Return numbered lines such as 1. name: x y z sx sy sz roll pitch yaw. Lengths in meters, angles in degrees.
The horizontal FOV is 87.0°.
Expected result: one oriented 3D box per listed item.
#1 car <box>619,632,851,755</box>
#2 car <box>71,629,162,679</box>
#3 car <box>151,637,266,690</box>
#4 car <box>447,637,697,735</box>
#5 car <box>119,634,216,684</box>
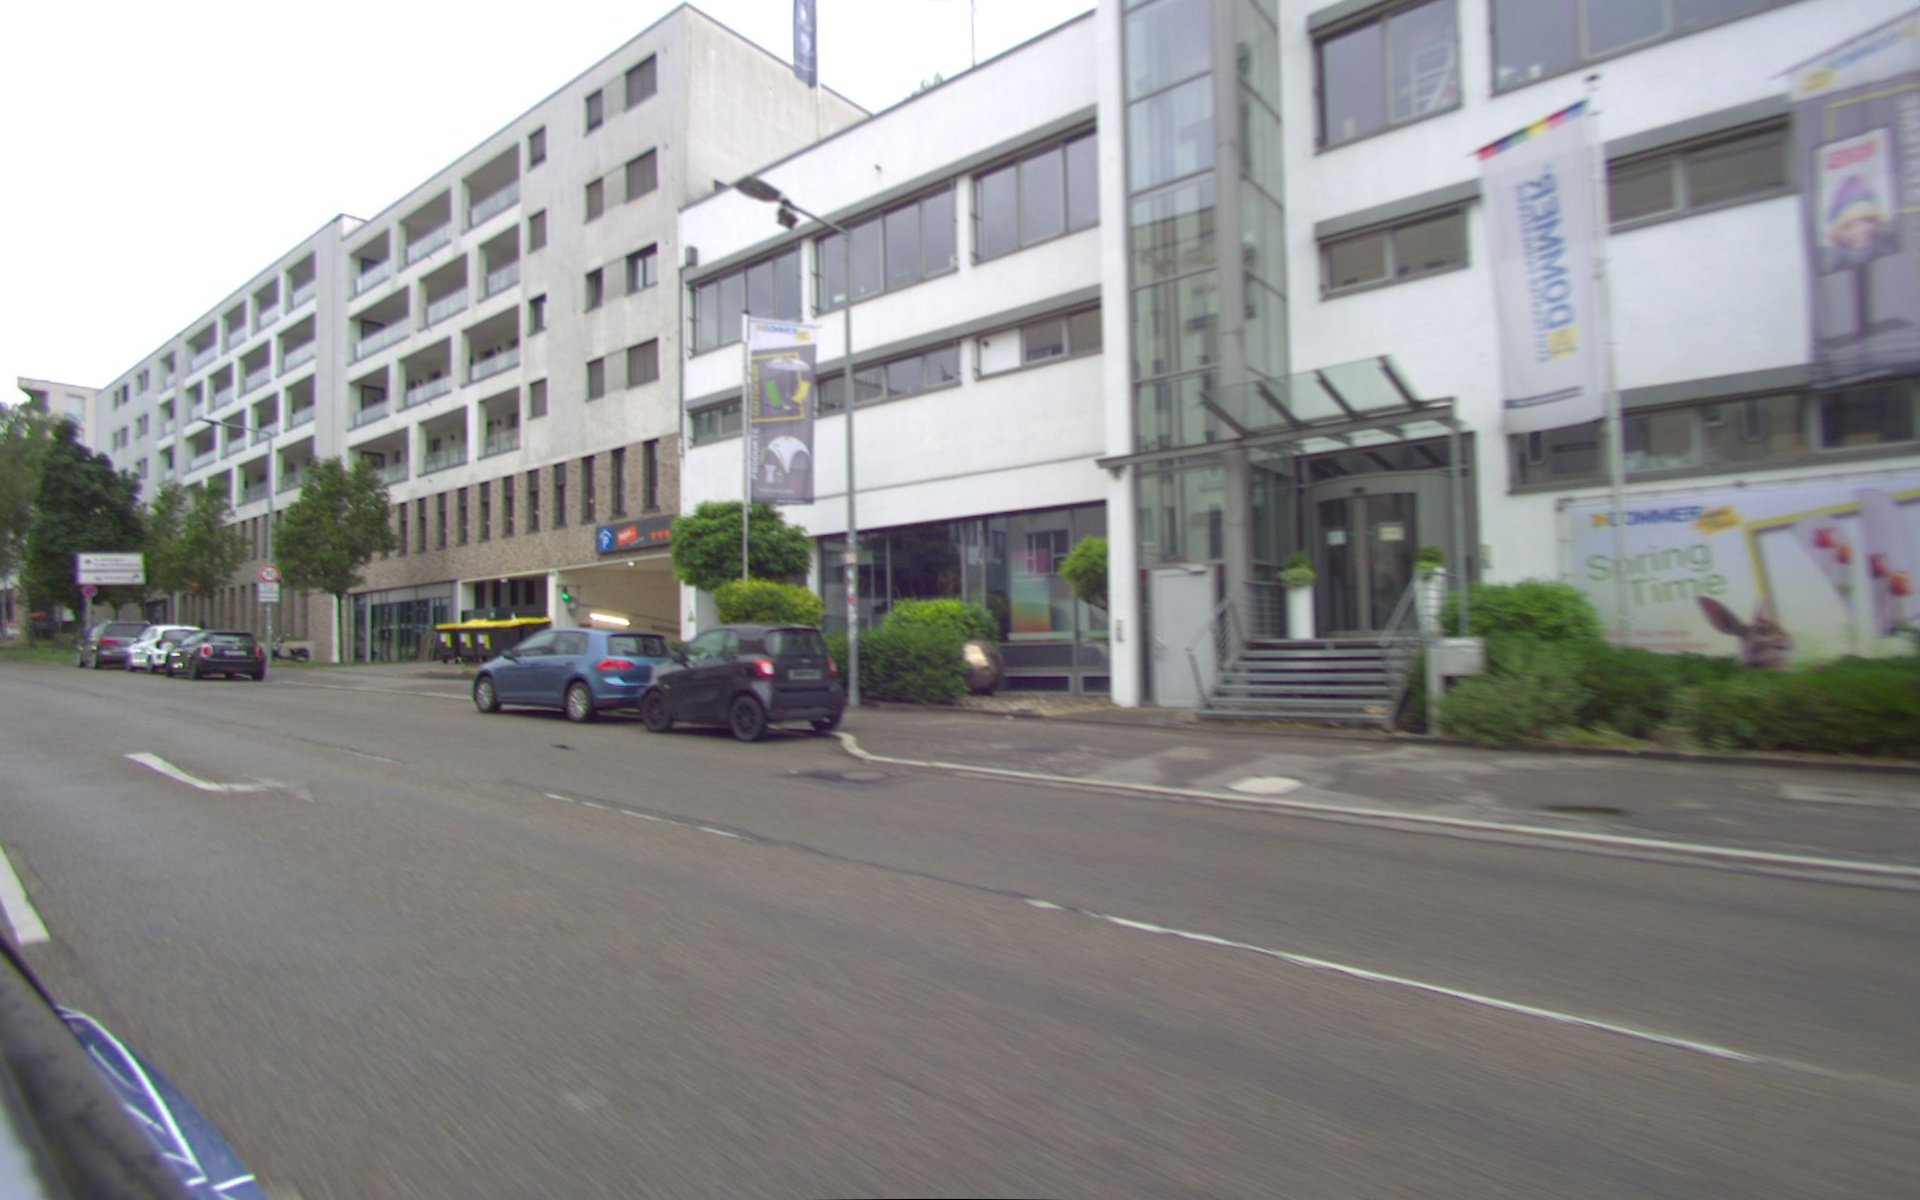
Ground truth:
1. car: -3.162 1.240 14.128 2.974 1.521 1.501 -1 -4 34
2. car: -29.245 1.863 35.049 3.968 1.630 1.610 -2 -5 39
3. car: -21.633 1.805 29.093 3.734 1.402 1.642 -1 -4 37
4. car: -6.384 1.329 16.501 4.259 1.414 1.642 -1 -4 34
5. car: -25.120 1.859 32.054 3.417 1.479 1.578 -1 -5 38
